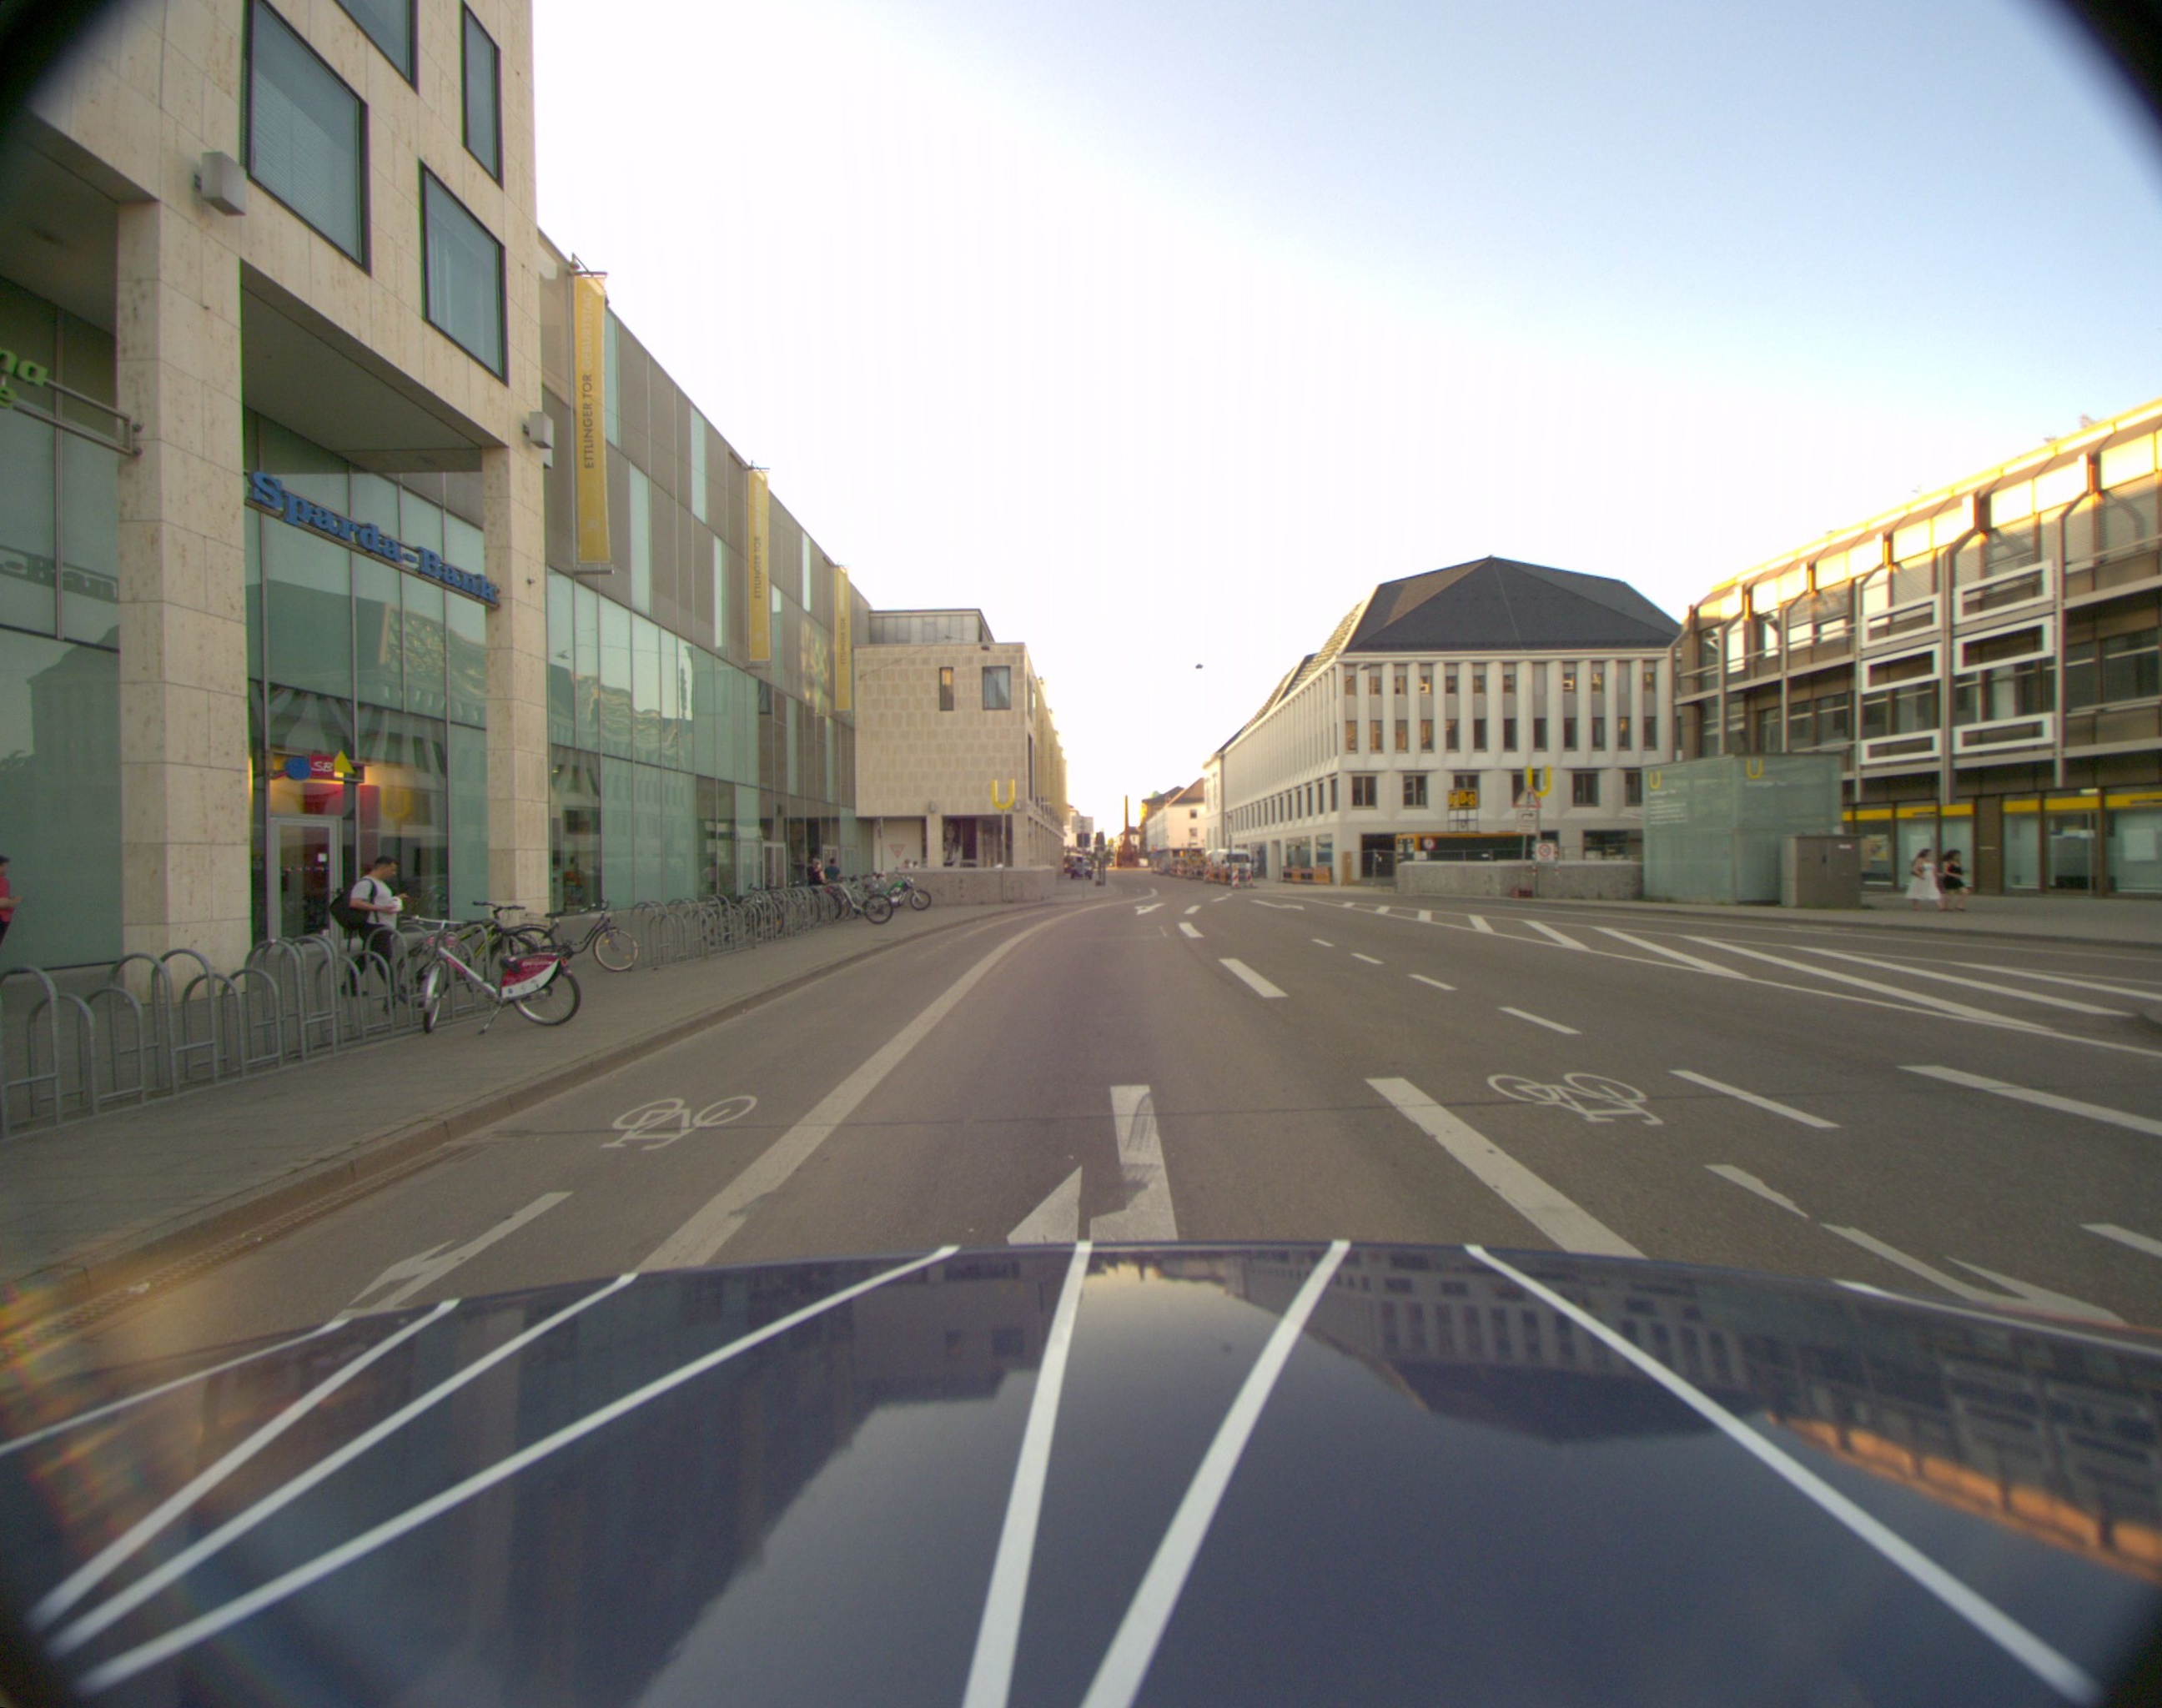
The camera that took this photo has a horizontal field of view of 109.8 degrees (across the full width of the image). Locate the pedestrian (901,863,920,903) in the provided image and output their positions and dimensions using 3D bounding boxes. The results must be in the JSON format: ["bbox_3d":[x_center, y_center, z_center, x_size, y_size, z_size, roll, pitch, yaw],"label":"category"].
[{"bbox_3d":[-7.653,1.281,34.135,0.619,1.770,0.812,-1,0,3],"label":"pedestrian"}]

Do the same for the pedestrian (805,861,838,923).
[{"bbox_3d":[-7.073,1.016,20.717,0.809,1.633,0.646,-1,0,-18],"label":"pedestrian"}]

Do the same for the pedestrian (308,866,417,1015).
[{"bbox_3d":[-8.489,0.988,9.010,0.708,1.682,0.629,-1,0,-16],"label":"pedestrian"}]

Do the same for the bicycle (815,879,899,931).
[{"bbox_3d":[-5.387,1.219,18.316,1.838,1.140,0.466,-3,0,1],"label":"bicycle"}]

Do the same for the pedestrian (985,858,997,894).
[{"bbox_3d":[-4.300,1.042,36.438,0.454,1.733,0.493,-1,0,3],"label":"pedestrian"}]

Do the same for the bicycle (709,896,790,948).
[{"bbox_3d":[-6.594,1.353,15.145,1.345,0.927,0.518,-3,0,-1],"label":"bicycle"}]

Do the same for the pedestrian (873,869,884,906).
[{"bbox_3d":[-9.610,1.568,36.021,0.364,1.733,0.452,-1,0,3],"label":"pedestrian"}]

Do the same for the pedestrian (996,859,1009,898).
[{"bbox_3d":[-3.528,1.099,34.106,0.516,1.733,0.493,-1,0,3],"label":"pedestrian"}]

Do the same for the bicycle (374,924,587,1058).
[{"bbox_3d":[-5.396,1.218,6.862,1.518,1.057,0.466,-3,0,1],"label":"bicycle"}]

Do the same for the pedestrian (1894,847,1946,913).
[{"bbox_3d":[21.170,0.650,19.184,0.670,1.629,0.584,-1,0,1],"label":"pedestrian"}]

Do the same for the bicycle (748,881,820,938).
[{"bbox_3d":[-6.657,1.238,17.074,1.345,1.157,0.518,-3,0,-1],"label":"bicycle"}]

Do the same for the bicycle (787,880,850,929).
[{"bbox_3d":[-6.601,1.265,19.159,1.345,1.157,0.518,-3,0,-1],"label":"bicycle"}]

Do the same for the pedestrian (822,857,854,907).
[{"bbox_3d":[-8.329,0.933,26.041,0.697,1.686,0.821,-1,0,14],"label":"pedestrian"}]

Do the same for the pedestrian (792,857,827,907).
[{"bbox_3d":[-9.208,0.929,25.745,0.738,1.638,0.822,0,0,36],"label":"pedestrian"}]

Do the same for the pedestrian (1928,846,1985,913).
[{"bbox_3d":[21.920,0.625,19.032,0.616,1.629,0.703,-1,0,1],"label":"pedestrian"}]

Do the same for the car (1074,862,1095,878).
[{"bbox_3d":[0.339,1.402,67.809,1.798,1.365,3.671,-1,0,2],"label":"car"}]

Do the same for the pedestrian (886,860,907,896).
[{"bbox_3d":[-8.918,1.143,36.735,0.793,1.733,0.657,-1,0,3],"label":"pedestrian"}]

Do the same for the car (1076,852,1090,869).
[{"bbox_3d":[0.281,0.848,100.738,1.798,2.198,3.671,-1,0,2],"label":"car"}]

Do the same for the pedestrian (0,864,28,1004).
[{"bbox_3d":[-13.002,0.941,8.793,0.629,1.642,0.708,-1,0,2],"label":"pedestrian"}]

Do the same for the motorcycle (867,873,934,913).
[{"bbox_3d":[-5.708,1.242,24.081,2.007,1.217,0.480,-1,0,-2],"label":"motorcycle"}]

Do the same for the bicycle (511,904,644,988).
[{"bbox_3d":[-7.301,1.315,11.068,1.447,1.058,0.580,-3,0,-10],"label":"bicycle"}]

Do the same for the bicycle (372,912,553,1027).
[{"bbox_3d":[-6.796,1.258,8.388,1.518,1.117,0.581,-3,0,4],"label":"bicycle"}]

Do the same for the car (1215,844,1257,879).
[{"bbox_3d":[11.989,0.587,59.159,2.141,2.540,6.050,-1,0,1],"label":"car"}]

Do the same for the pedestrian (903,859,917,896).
[{"bbox_3d":[-8.166,1.118,36.294,0.494,1.733,0.657,-1,0,3],"label":"pedestrian"}]

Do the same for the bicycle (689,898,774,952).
[{"bbox_3d":[-6.652,1.344,14.499,1.345,0.927,0.518,-3,0,-1],"label":"bicycle"}]
